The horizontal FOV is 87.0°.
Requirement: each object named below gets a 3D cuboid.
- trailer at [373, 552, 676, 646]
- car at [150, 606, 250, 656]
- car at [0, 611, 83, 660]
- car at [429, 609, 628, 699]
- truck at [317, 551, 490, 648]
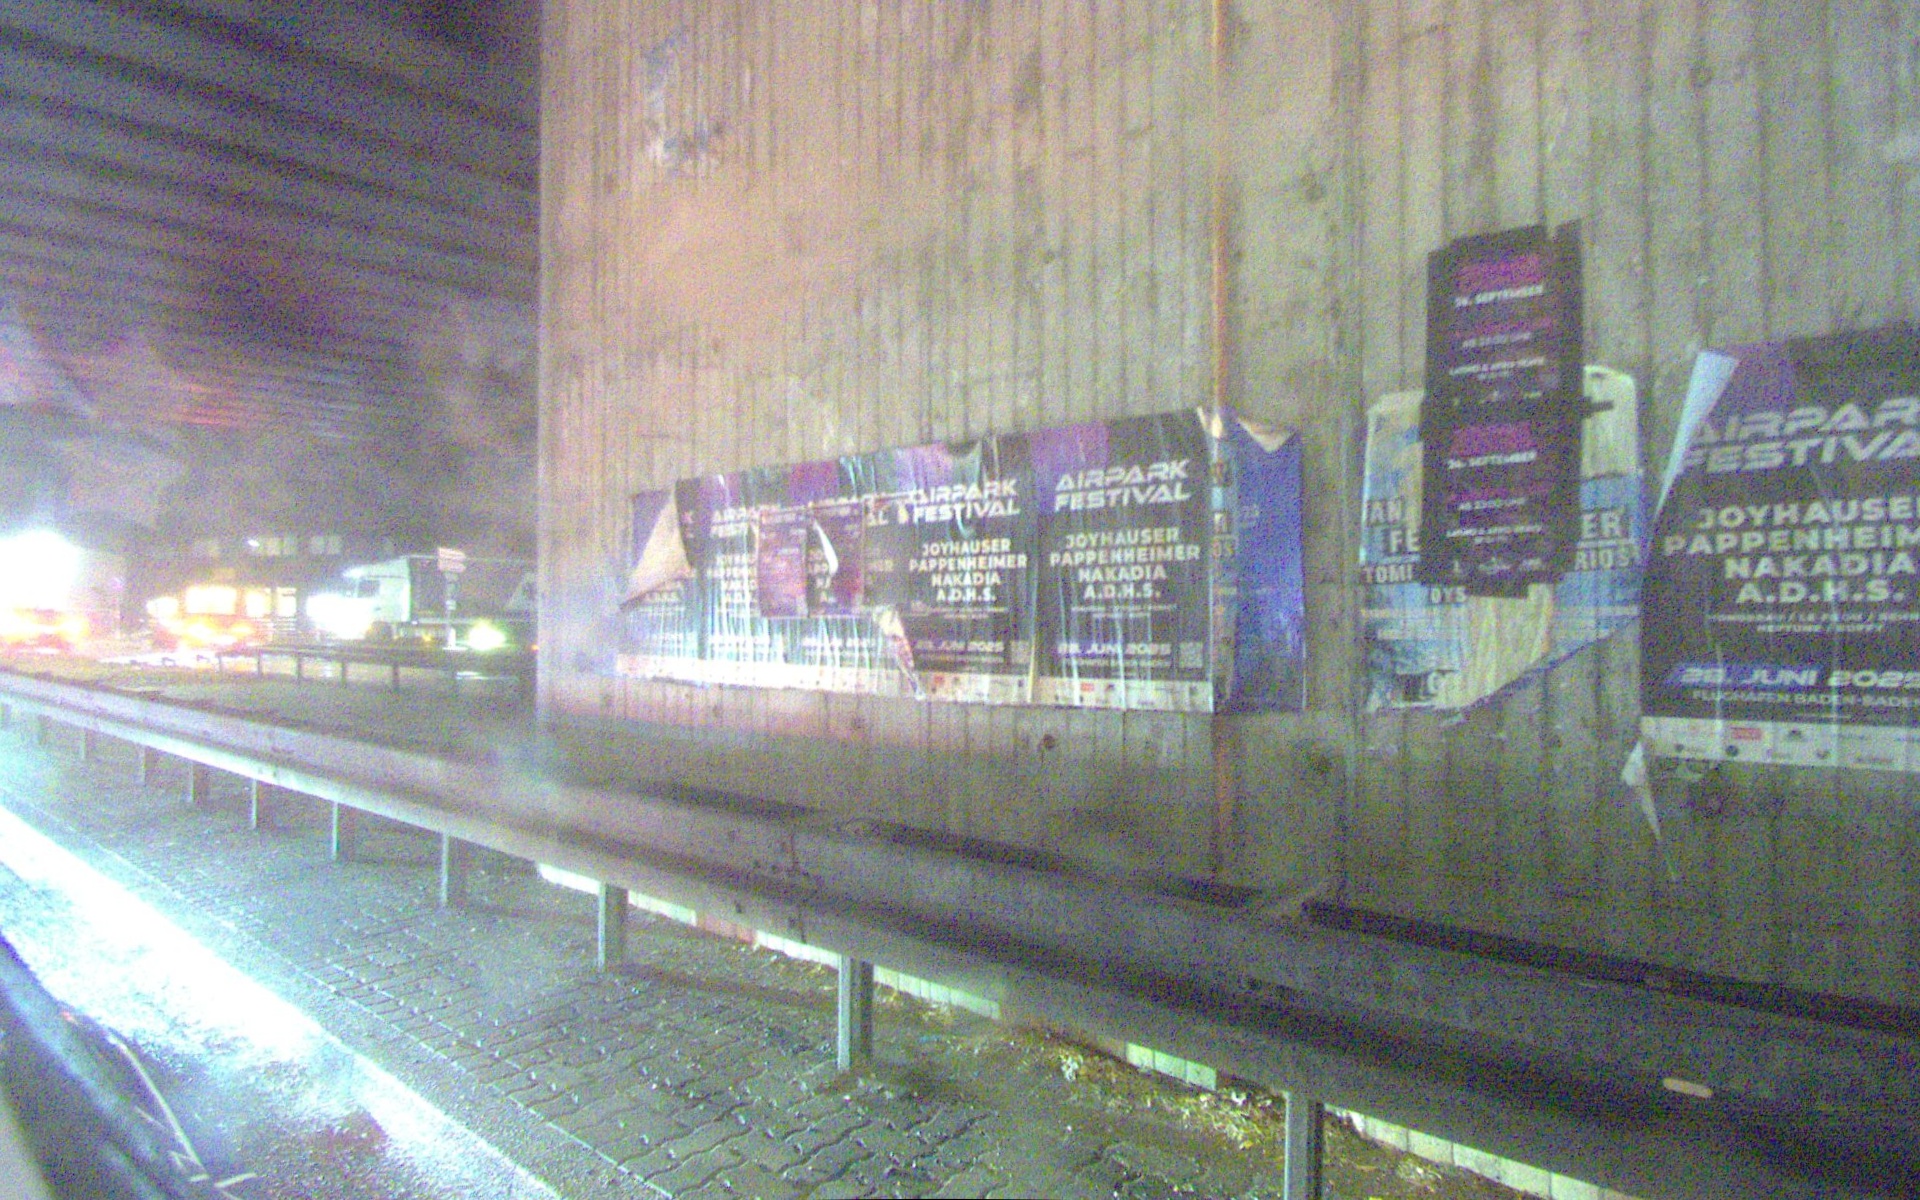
[{"bbox_3d":[-21.723,-0.114,51.649,13.713,4.208,3.973,-1,0,-44],"label":"trailer"},{"bbox_3d":[-26.489,1.045,35.241,4.138,1.617,1.800,-1,0,38],"label":"car"},{"bbox_3d":[-31.780,1.169,34.499,3.991,1.530,1.976,-1,0,36],"label":"car"},{"bbox_3d":[-8.828,1.017,20.610,3.993,1.617,1.975,-1,0,37],"label":"car"},{"bbox_3d":[-26.020,-0.051,47.405,6.282,4.208,3.973,-1,0,-44],"label":"truck"}]
